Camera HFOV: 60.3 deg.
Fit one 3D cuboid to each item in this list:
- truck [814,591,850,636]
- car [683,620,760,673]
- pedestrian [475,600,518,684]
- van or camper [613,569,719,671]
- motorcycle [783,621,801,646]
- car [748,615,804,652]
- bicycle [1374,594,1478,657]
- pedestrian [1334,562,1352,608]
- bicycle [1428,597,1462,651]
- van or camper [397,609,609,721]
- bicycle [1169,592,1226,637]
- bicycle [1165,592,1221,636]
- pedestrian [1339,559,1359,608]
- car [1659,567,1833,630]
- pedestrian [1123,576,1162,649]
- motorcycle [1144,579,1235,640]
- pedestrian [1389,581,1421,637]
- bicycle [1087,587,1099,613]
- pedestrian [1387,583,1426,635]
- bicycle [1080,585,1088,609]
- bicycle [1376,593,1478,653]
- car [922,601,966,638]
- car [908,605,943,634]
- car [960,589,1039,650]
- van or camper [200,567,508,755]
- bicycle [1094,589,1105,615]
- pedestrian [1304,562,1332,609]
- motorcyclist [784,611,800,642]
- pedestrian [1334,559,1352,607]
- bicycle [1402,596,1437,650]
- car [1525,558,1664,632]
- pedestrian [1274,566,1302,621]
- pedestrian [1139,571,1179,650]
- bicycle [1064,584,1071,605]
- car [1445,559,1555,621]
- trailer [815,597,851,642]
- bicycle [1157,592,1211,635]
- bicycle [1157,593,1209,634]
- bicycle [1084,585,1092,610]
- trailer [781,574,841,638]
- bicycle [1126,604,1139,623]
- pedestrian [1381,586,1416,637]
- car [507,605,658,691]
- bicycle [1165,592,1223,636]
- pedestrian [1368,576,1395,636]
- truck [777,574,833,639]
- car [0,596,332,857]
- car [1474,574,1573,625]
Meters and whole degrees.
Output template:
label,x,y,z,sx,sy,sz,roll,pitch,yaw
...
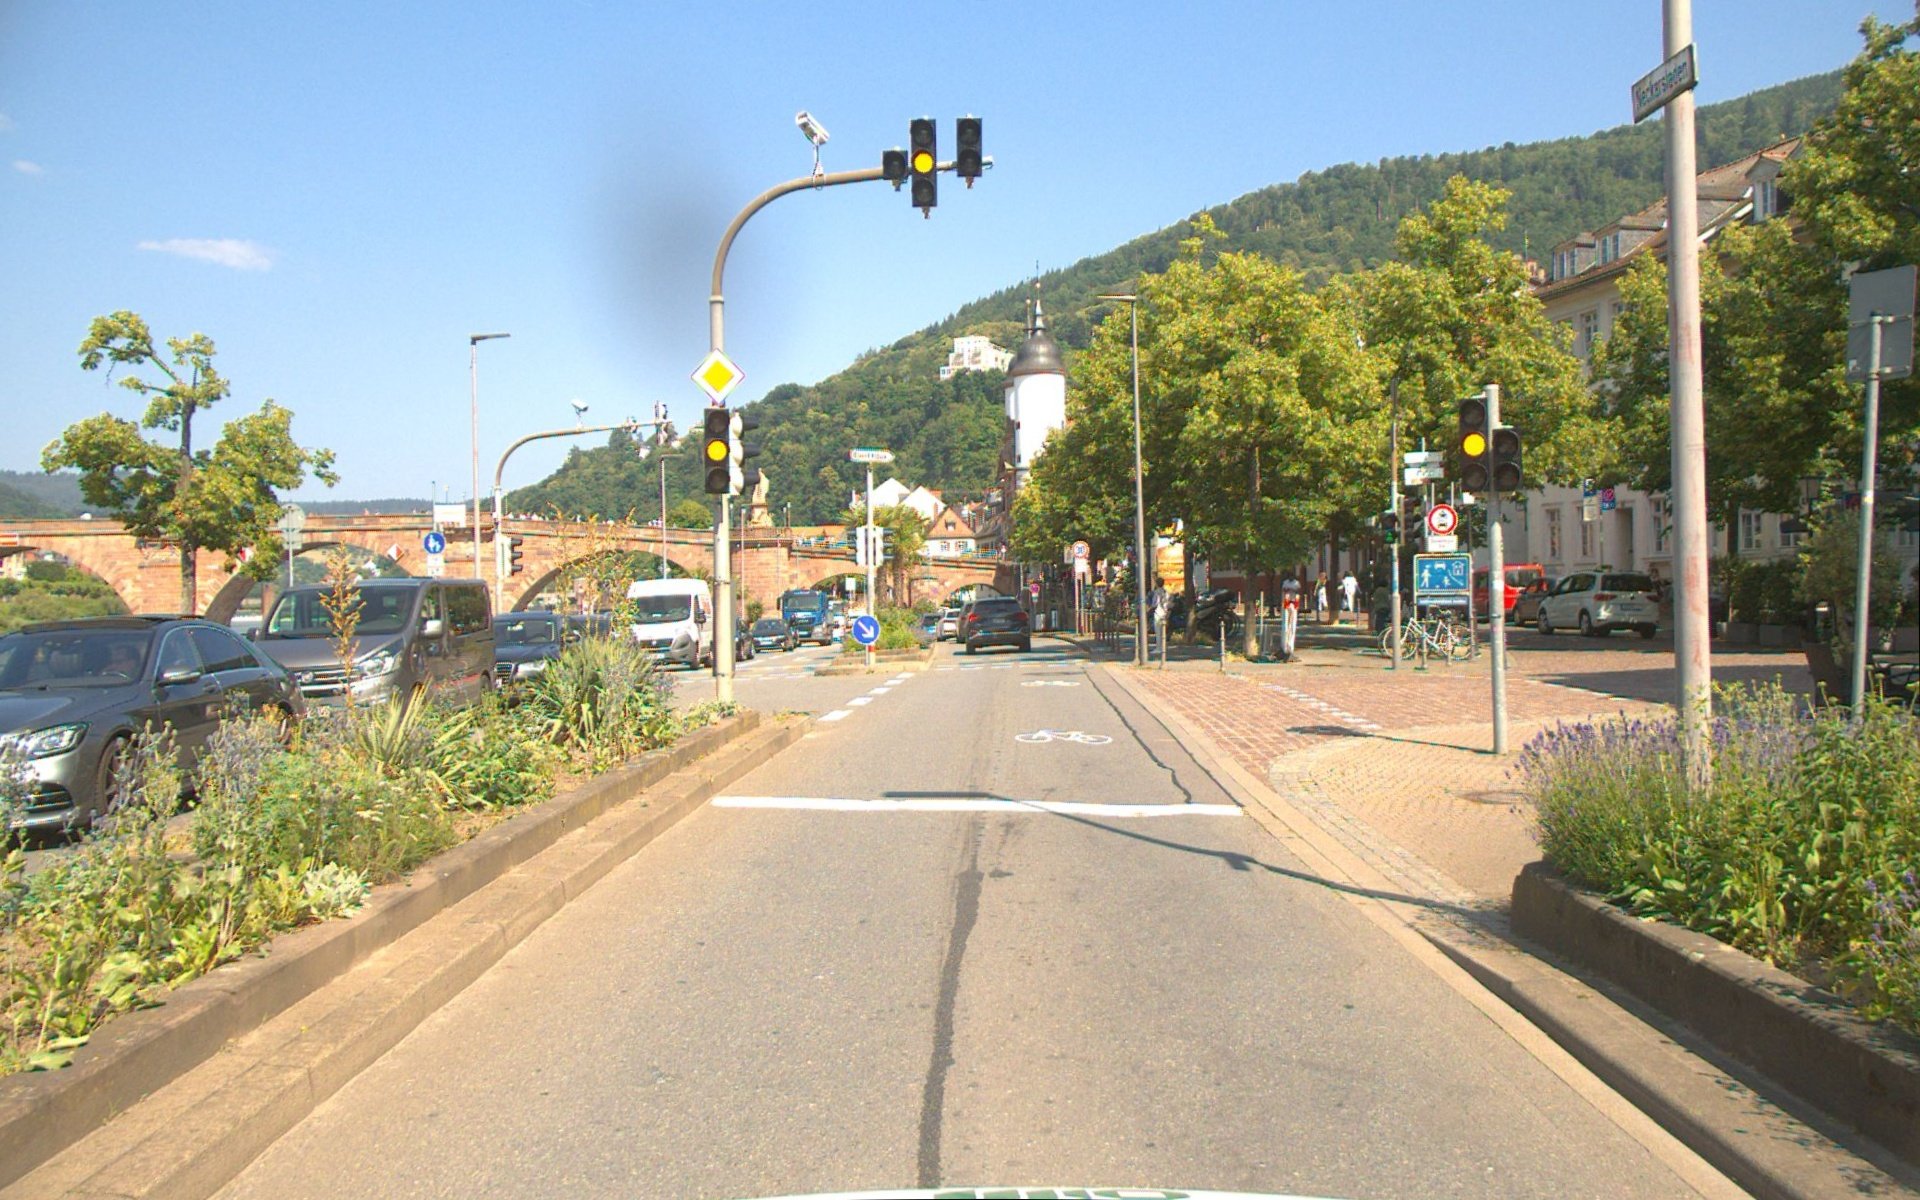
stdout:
label,x,y,z,sx,sy,sz,roll,pitch,yaw
truck,-10.241,1.035,132.561,2.605,3.463,5.132,-1,0,-3
car,-7.800,1.485,54.468,1.782,1.481,4.928,-4,0,-1
pedestrian,-10.336,0.941,36.905,0.681,1.811,0.762,4,-3,-8
van or camper,-7.899,0.551,44.969,1.953,2.492,5.492,-3,-1,-2
motorcycle,-8.302,1.643,81.904,0.742,1.151,2.454,-1,0,-3
car,-7.947,1.468,71.855,1.912,1.437,4.218,-4,-1,0
bicycle,9.389,0.509,33.376,1.956,1.219,0.522,1,1,11
pedestrian,15.827,-0.624,68.388,0.574,1.872,0.596,-2,0,-1
bicycle,10.269,0.508,35.011,0.581,1.086,2.066,-2,-1,18
van or camper,-7.079,0.945,26.231,1.953,1.502,5.064,-3,0,-1
bicycle,6.396,0.381,44.595,1.454,1.139,0.294,-3,0,-3
bicycle,6.401,0.380,45.475,1.455,1.139,0.293,-3,0,-6
pedestrian,16.282,-0.691,69.193,0.622,2.049,0.644,-2,0,-1
car,20.109,-0.046,42.388,3.666,1.457,1.621,-2,0,-3
pedestrian,4.388,0.288,39.771,0.681,1.706,0.763,-3,0,-8
motorcycle,5.998,0.252,43.246,2.256,1.490,0.760,-3,-1,41
pedestrian,11.335,0.220,42.117,0.614,1.406,0.541,1,0,-8
bicycle,5.977,-0.008,74.303,0.270,1.114,1.488,-6,0,-1
pedestrian,11.161,0.222,41.374,0.680,1.274,0.763,-2,0,-8
bicycle,5.897,-0.131,78.635,0.245,1.115,1.488,0,0,-1
bicycle,9.547,0.462,33.864,1.969,1.219,0.522,0,0,11
car,-0.746,0.909,78.058,1.953,1.580,4.831,-1,1,0
car,-2.039,1.132,98.766,1.953,1.580,4.831,-2,0,0
car,1.041,0.524,46.219,1.888,1.580,4.830,-1,0,-2
van or camper,-7.125,0.645,20.115,1.954,1.906,5.177,-2,0,-2
bicycle,5.971,0.078,70.732,0.338,1.115,1.488,0,0,-1
pedestrian,15.098,-0.620,69.764,0.949,1.948,0.747,-1,0,0
motorcyclist,-8.308,1.308,81.947,0.721,1.496,1.011,-1,0,-3
pedestrian,16.565,-0.751,71.560,0.574,2.049,0.596,-2,0,-1
bicycle,9.812,0.470,35.252,0.581,1.086,2.066,-2,0,18
car,16.295,-0.150,42.727,1.733,1.759,4.567,-1,1,-1
pedestrian,10.240,-0.199,51.620,0.693,1.682,0.707,-2,0,0
pedestrian,4.689,0.240,39.055,0.681,1.802,0.763,-3,0,-8
bicycle,5.819,-0.303,89.346,0.348,1.115,1.489,0,0,5
car,17.967,-0.342,55.230,1.954,1.935,4.631,-1,1,-3
trailer,-10.447,1.563,137.135,2.605,3.463,10.162,-1,0,-3
bicycle,6.416,0.390,47.384,1.455,1.139,0.250,-3,0,-6
bicycle,6.489,0.394,48.133,1.455,1.139,0.250,-3,0,-6
bicycle,5.919,-0.117,76.708,0.245,1.115,1.488,0,0,-1
trailer,-8.573,0.324,96.136,2.603,3.463,8.825,-1,0,0
bicycle,6.249,0.478,60.076,0.245,0.675,1.468,-2,0,-2
pedestrian,11.327,0.302,42.746,0.614,1.304,0.753,1,0,-8
car,-7.371,0.895,32.752,1.913,1.433,4.569,-4,0,-1
bicycle,6.363,0.379,44.977,1.455,1.139,0.378,-3,0,-6
pedestrian,10.825,0.147,42.510,0.450,1.544,0.689,0,0,-8
truck,-8.568,0.345,91.805,2.603,3.463,4.449,-1,0,0
car,-6.798,0.856,13.076,1.955,1.626,5.152,-4,0,-5
car,17.071,-0.006,50.272,1.641,1.457,3.469,-1,0,-3
